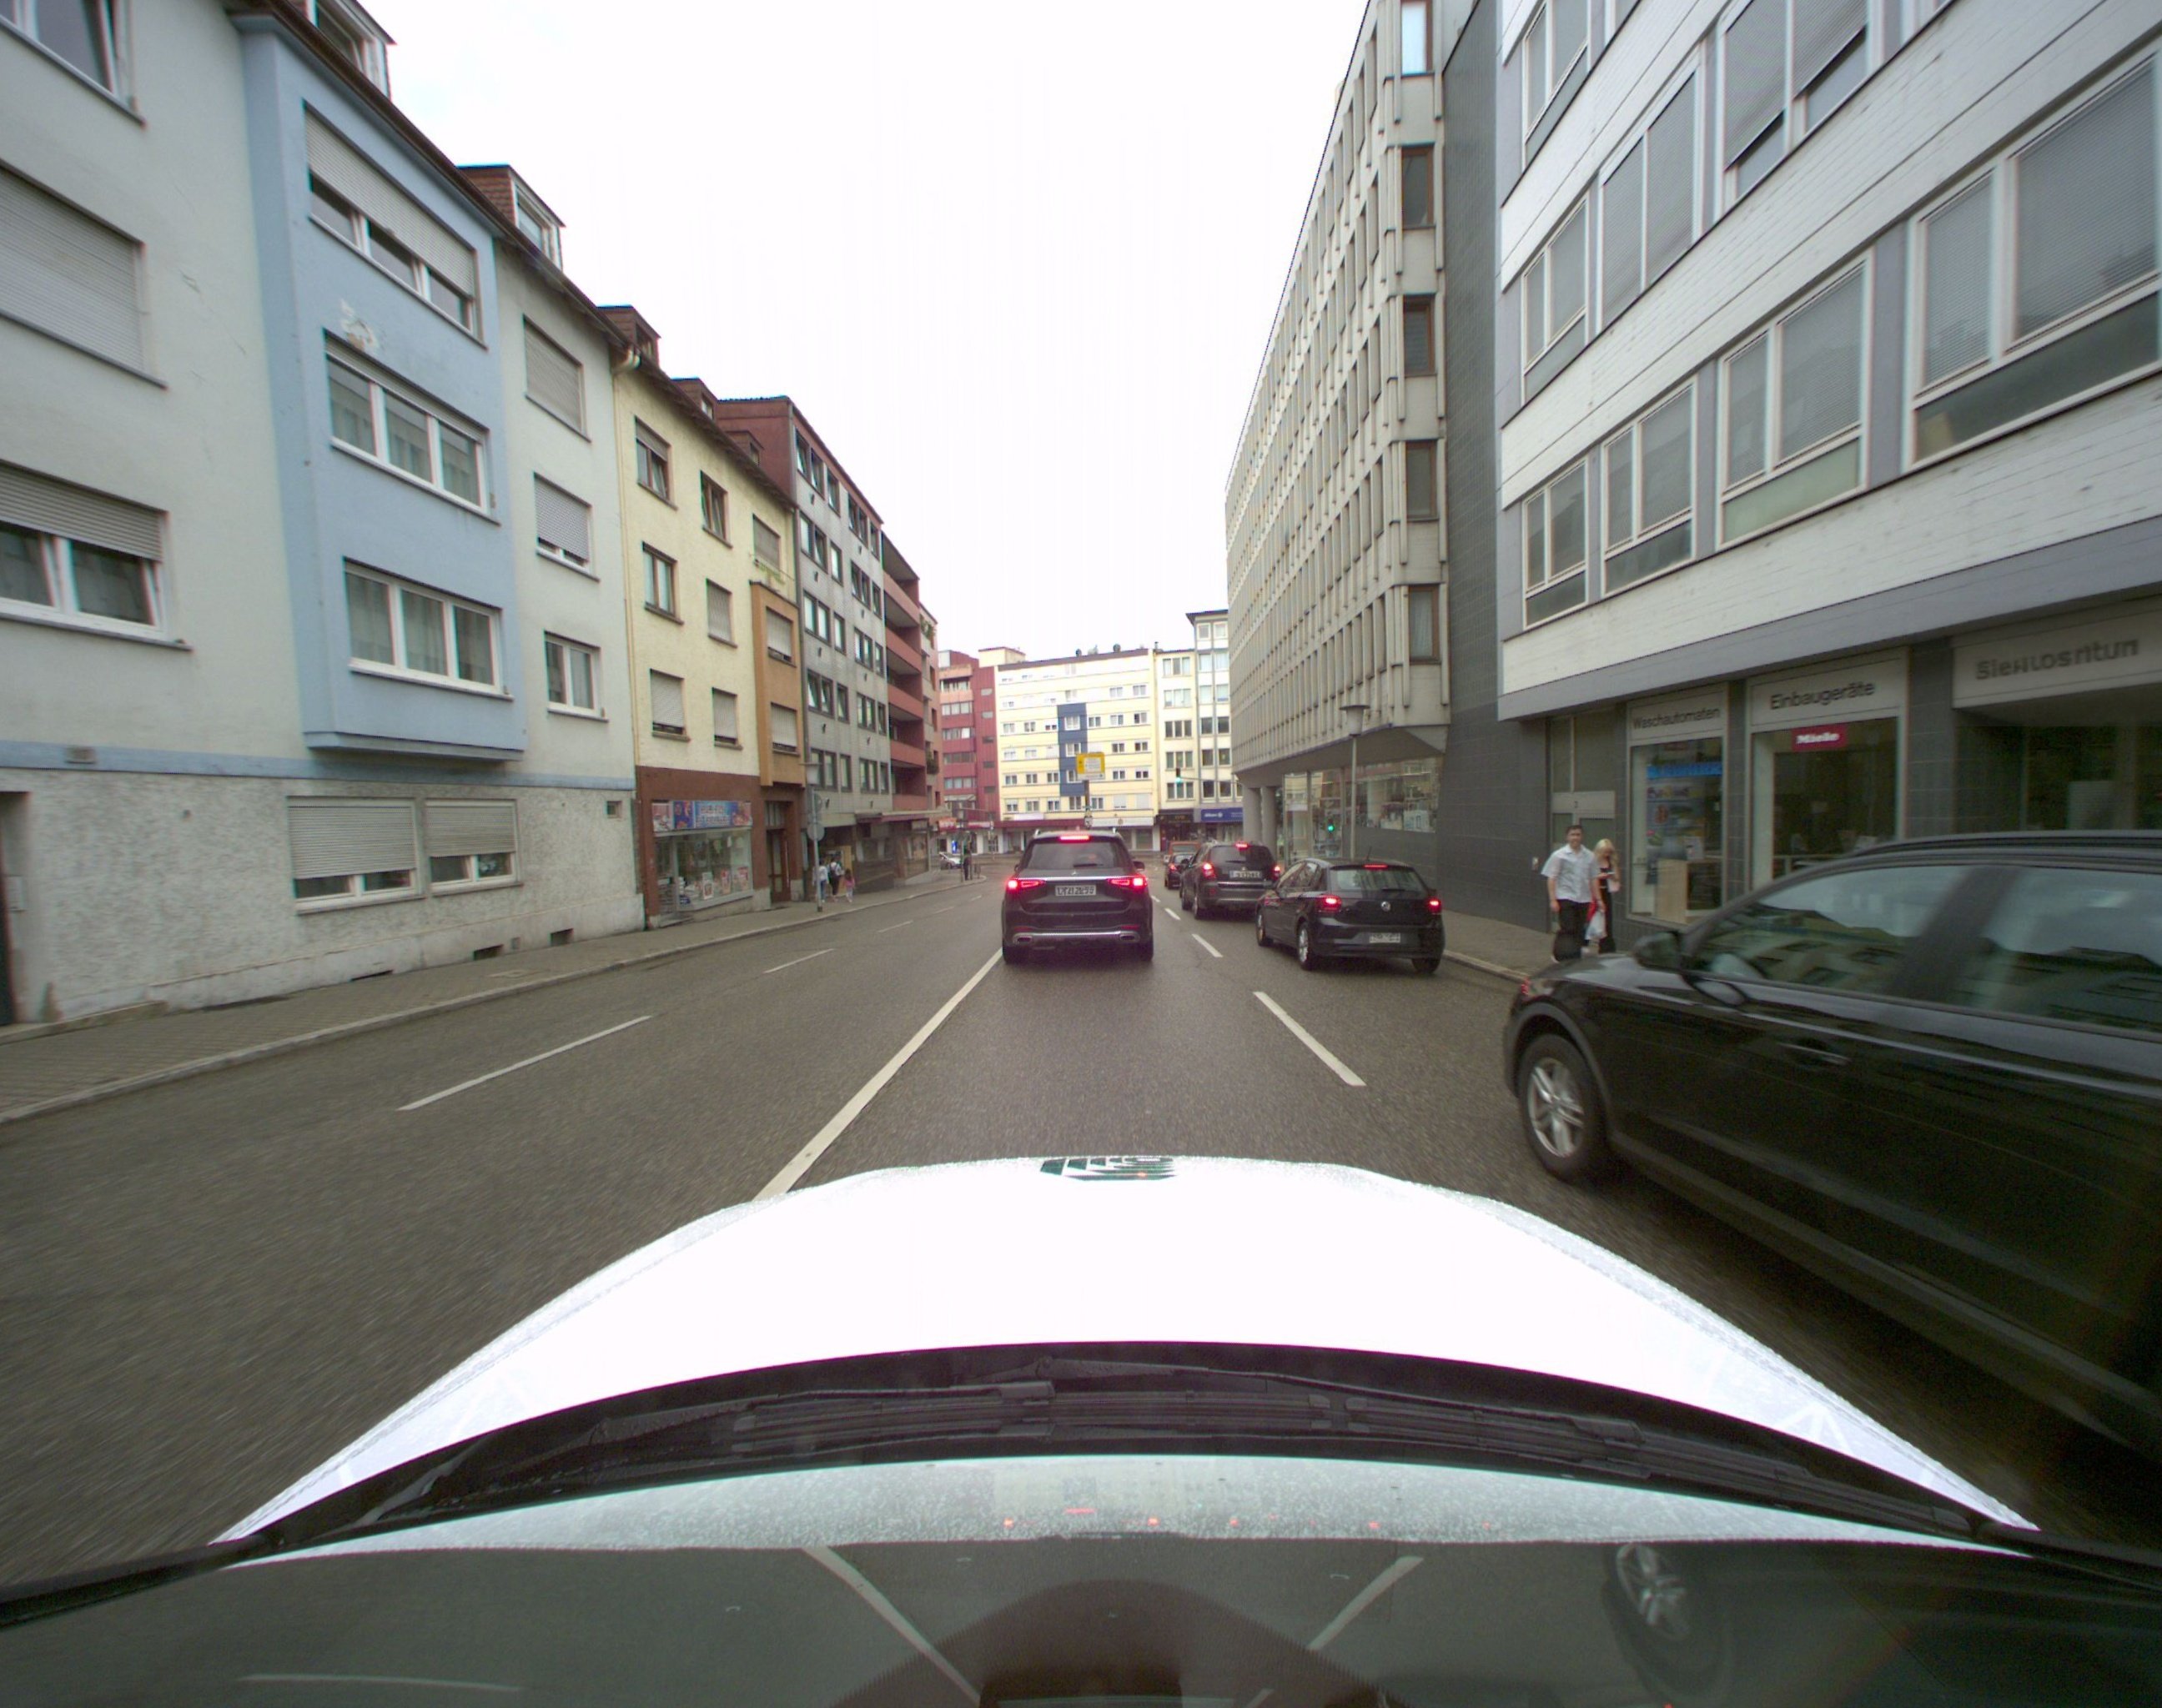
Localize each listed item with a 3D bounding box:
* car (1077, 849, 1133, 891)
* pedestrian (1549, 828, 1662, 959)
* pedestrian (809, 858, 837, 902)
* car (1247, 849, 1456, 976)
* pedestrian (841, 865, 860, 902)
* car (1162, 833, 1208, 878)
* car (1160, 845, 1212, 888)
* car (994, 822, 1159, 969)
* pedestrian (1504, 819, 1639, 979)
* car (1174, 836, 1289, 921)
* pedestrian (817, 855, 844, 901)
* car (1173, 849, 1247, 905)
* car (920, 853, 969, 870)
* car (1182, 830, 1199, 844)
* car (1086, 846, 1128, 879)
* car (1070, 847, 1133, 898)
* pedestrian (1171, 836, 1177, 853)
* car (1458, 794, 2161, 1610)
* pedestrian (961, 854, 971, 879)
[{"bbox_3d":[0.963,0.572,32.249,1.986,1.486,4.239,-2,0,2],"label":"car"},{"bbox_3d":[6.709,0.487,10.462,0.763,1.551,0.890,-4,0,-2],"label":"pedestrian"},{"bbox_3d":[-9.139,0.915,28.869,0.826,1.561,0.722,0,0,-7],"label":"pedestrian"},{"bbox_3d":[3.622,0.685,11.678,1.683,1.477,4.000,1,0,0],"label":"car"},{"bbox_3d":[-8.478,1.091,29.944,0.533,1.323,0.722,0,0,-7],"label":"pedestrian"},{"bbox_3d":[5.419,0.088,43.043,2.231,2.228,5.437,0,0,6],"label":"car"},{"bbox_3d":[4.222,0.486,33.348,1.815,1.658,4.500,0,0,4],"label":"car"},{"bbox_3d":[-0.033,0.495,12.380,2.032,1.799,4.663,0,0,0],"label":"car"},{"bbox_3d":[5.694,0.494,9.532,0.781,1.705,1.120,-4,0,-1],"label":"pedestrian"},{"bbox_3d":[3.328,0.482,18.904,1.891,1.695,4.506,1,0,1],"label":"car"},{"bbox_3d":[-9.265,0.885,30.193,0.826,1.689,0.722,0,0,-7],"label":"pedestrian"},{"bbox_3d":[3.764,0.615,24.417,1.759,1.397,4.004,4,1,4],"label":"car"},{"bbox_3d":[-12.711,0.691,75.873,4.129,1.592,1.749,0,1,17],"label":"car"},{"bbox_3d":[13.486,-2.052,100.007,1.786,1.670,4.012,-2,0,11],"label":"car"},{"bbox_3d":[1.305,0.457,40.284,1.917,1.515,4.664,1,-1,2],"label":"car"},{"bbox_3d":[0.619,0.546,26.385,1.867,1.494,4.400,0,0,0],"label":"car"},{"bbox_3d":[9.989,-1.050,87.210,0.561,1.688,0.758,-2,6,8],"label":"pedestrian"},{"bbox_3d":[3.009,0.679,2.517,1.816,1.560,4.202,1,0,1],"label":"car"},{"bbox_3d":[-7.782,0.833,55.258,0.552,1.697,0.623,-2,0,-2],"label":"pedestrian"}]
